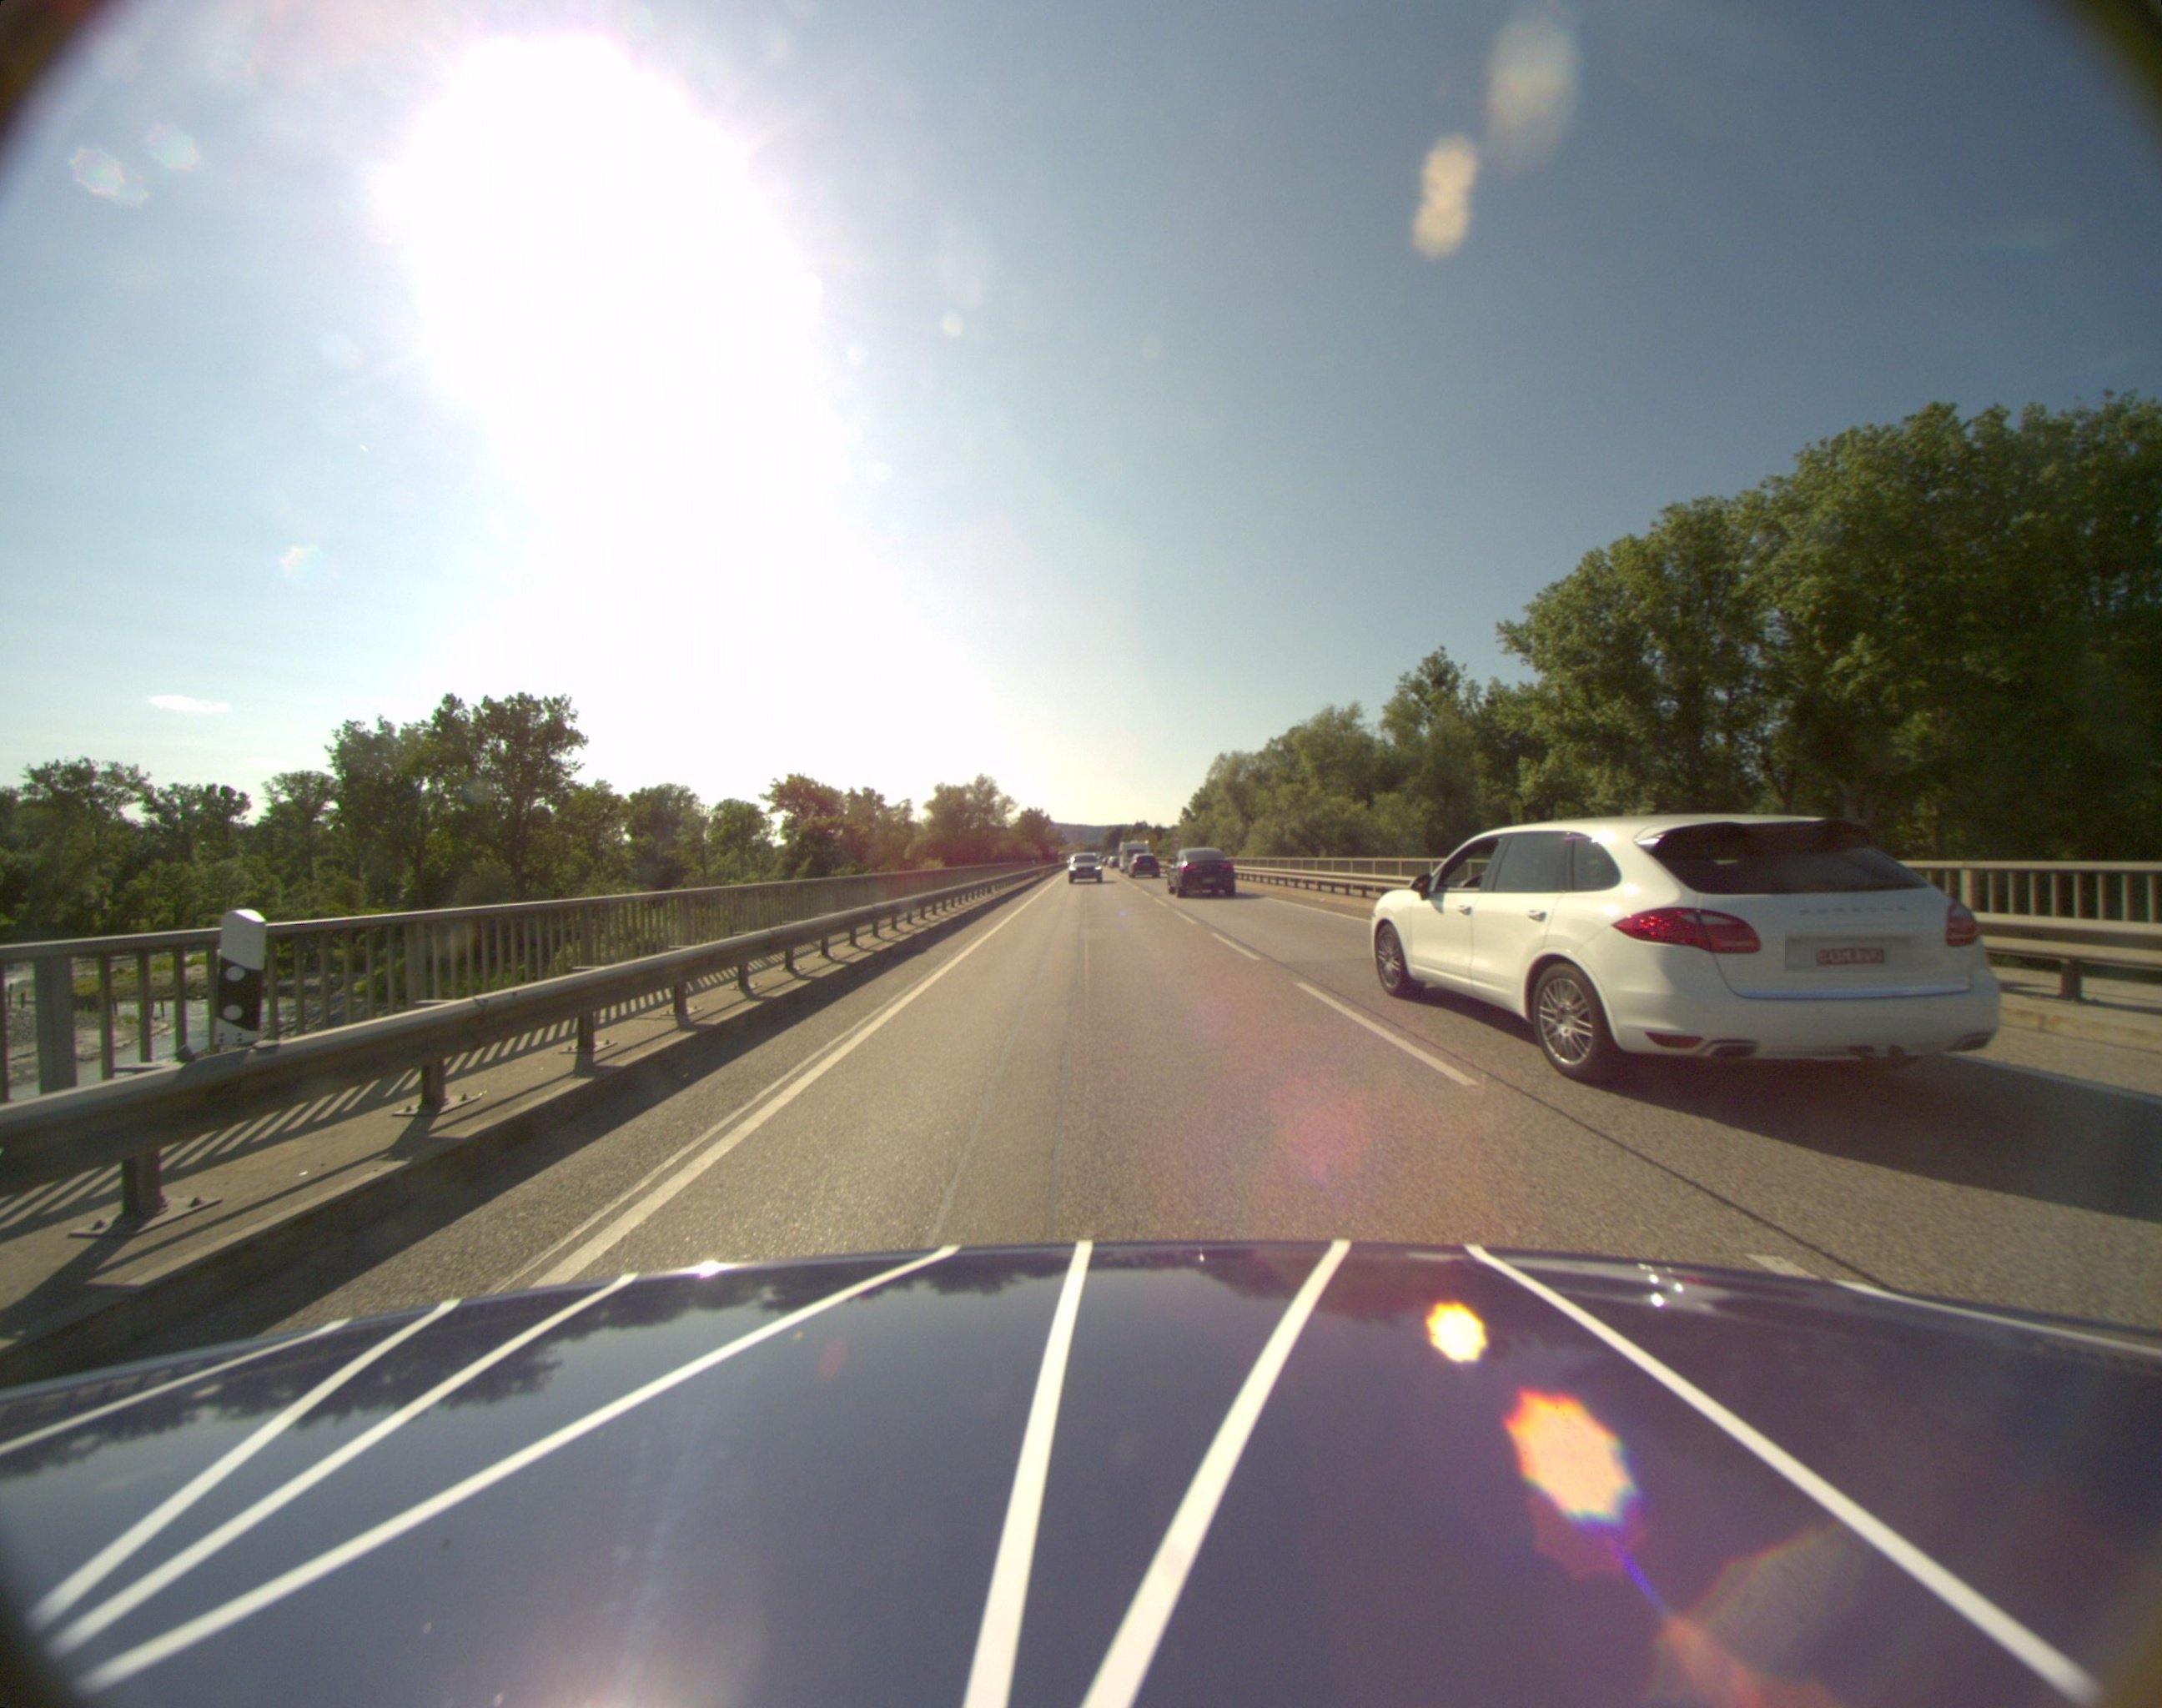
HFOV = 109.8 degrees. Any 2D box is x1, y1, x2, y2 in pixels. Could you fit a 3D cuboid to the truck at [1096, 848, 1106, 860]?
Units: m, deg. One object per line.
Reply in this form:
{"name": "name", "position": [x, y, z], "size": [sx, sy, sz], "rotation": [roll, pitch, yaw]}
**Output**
{"name": "truck", "position": [5.442, -0.042, 208.200], "size": [2.620, 3.235, 6.967], "rotation": [-2, 0, 0]}

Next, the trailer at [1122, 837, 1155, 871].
{"name": "trailer", "position": [4.986, 0.024, 66.970], "size": [2.561, 2.721, 8.063], "rotation": [-2, 0, 2]}

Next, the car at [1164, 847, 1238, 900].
{"name": "car", "position": [4.285, 0.655, 27.784], "size": [1.954, 1.684, 4.476], "rotation": [-3, 0, 0]}

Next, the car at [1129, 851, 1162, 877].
{"name": "car", "position": [4.347, 0.672, 51.511], "size": [1.807, 1.651, 4.433], "rotation": [-2, 0, 0]}

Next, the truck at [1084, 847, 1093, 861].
{"name": "truck", "position": [2.340, 0.025, 246.860], "size": [2.744, 4.303, 8.130], "rotation": [-2, 0, 0]}

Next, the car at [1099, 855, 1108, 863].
{"name": "car", "position": [5.033, 1.046, 170.137], "size": [1.825, 1.537, 4.061], "rotation": [-5, 0, -1]}

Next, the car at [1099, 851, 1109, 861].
{"name": "car", "position": [4.533, 0.345, 151.144], "size": [1.972, 1.796, 4.530], "rotation": [-2, 0, 1]}

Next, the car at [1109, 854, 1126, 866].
{"name": "car", "position": [4.526, 0.689, 94.498], "size": [1.791, 1.412, 4.650], "rotation": [-2, 0, -1]}

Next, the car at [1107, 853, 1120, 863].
{"name": "car", "position": [4.606, 0.584, 107.844], "size": [1.736, 1.427, 4.487], "rotation": [-1, 0, 1]}

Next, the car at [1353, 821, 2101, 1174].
{"name": "car", "position": [3.961, 0.700, 5.991], "size": [1.988, 1.641, 4.598], "rotation": [-2, 0, 1]}

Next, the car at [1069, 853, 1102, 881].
{"name": "car", "position": [0.330, 0.764, 46.640], "size": [1.871, 1.598, 4.380], "rotation": [-2, 0, 1]}
